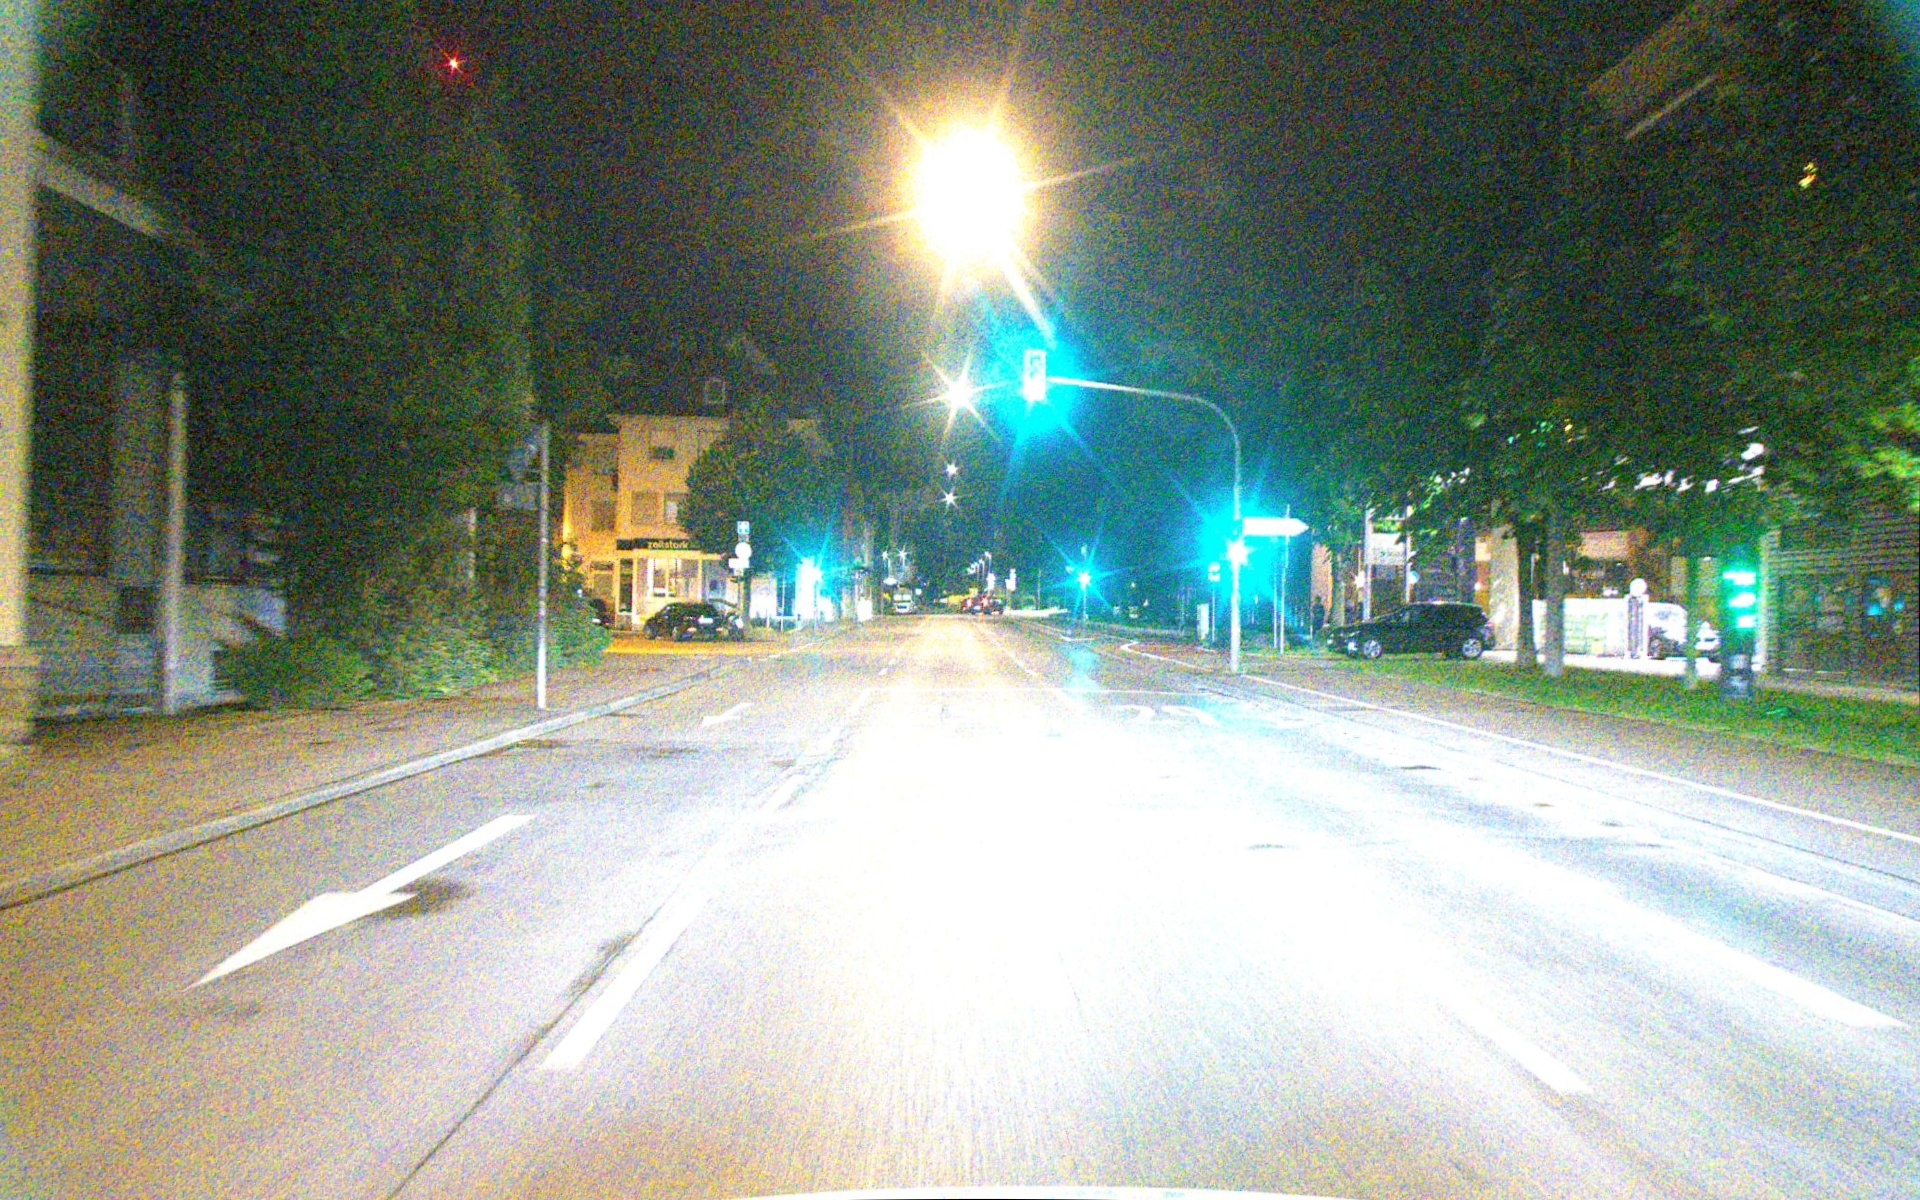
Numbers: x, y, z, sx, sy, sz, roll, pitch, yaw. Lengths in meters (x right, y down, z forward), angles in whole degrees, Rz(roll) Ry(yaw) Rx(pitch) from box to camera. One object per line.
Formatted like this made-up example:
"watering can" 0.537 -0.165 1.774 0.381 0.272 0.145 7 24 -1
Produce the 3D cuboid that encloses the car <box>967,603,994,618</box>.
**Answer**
"car" 1.922 0.994 154.067 1.628 1.366 3.628 0 -1 15

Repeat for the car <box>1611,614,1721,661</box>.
"car" 19.035 0.999 44.729 1.428 1.189 3.538 1 -1 -1

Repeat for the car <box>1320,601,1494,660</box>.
"car" 11.484 0.789 42.655 3.999 1.480 1.786 0 -1 -2

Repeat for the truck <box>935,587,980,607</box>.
"truck" -0.422 -0.460 247.444 6.642 2.894 1.999 1 0 -4

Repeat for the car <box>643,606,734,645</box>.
"car" -10.572 0.968 64.202 1.868 1.449 4.678 0 0 -31

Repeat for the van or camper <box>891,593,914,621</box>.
"van or camper" -5.516 0.664 159.306 2.114 2.580 6.225 -2 -1 -1

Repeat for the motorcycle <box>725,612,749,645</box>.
"motorcycle" -8.235 1.039 61.016 0.563 1.200 2.022 0 0 -17

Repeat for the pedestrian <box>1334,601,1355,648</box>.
"pedestrian" 13.955 0.886 60.087 0.608 1.667 0.679 0 -1 0

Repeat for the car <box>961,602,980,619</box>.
"car" 1.068 1.113 169.922 1.845 1.631 4.107 -1 -1 1

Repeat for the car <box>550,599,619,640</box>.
"car" -16.579 0.865 72.869 1.892 1.673 4.072 3 -2 -28

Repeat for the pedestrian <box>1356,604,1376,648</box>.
"pedestrian" 14.565 0.939 59.299 0.560 1.560 0.633 0 -1 0

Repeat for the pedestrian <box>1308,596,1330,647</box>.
"pedestrian" 13.109 0.796 60.415 0.609 1.843 0.759 0 -1 0
